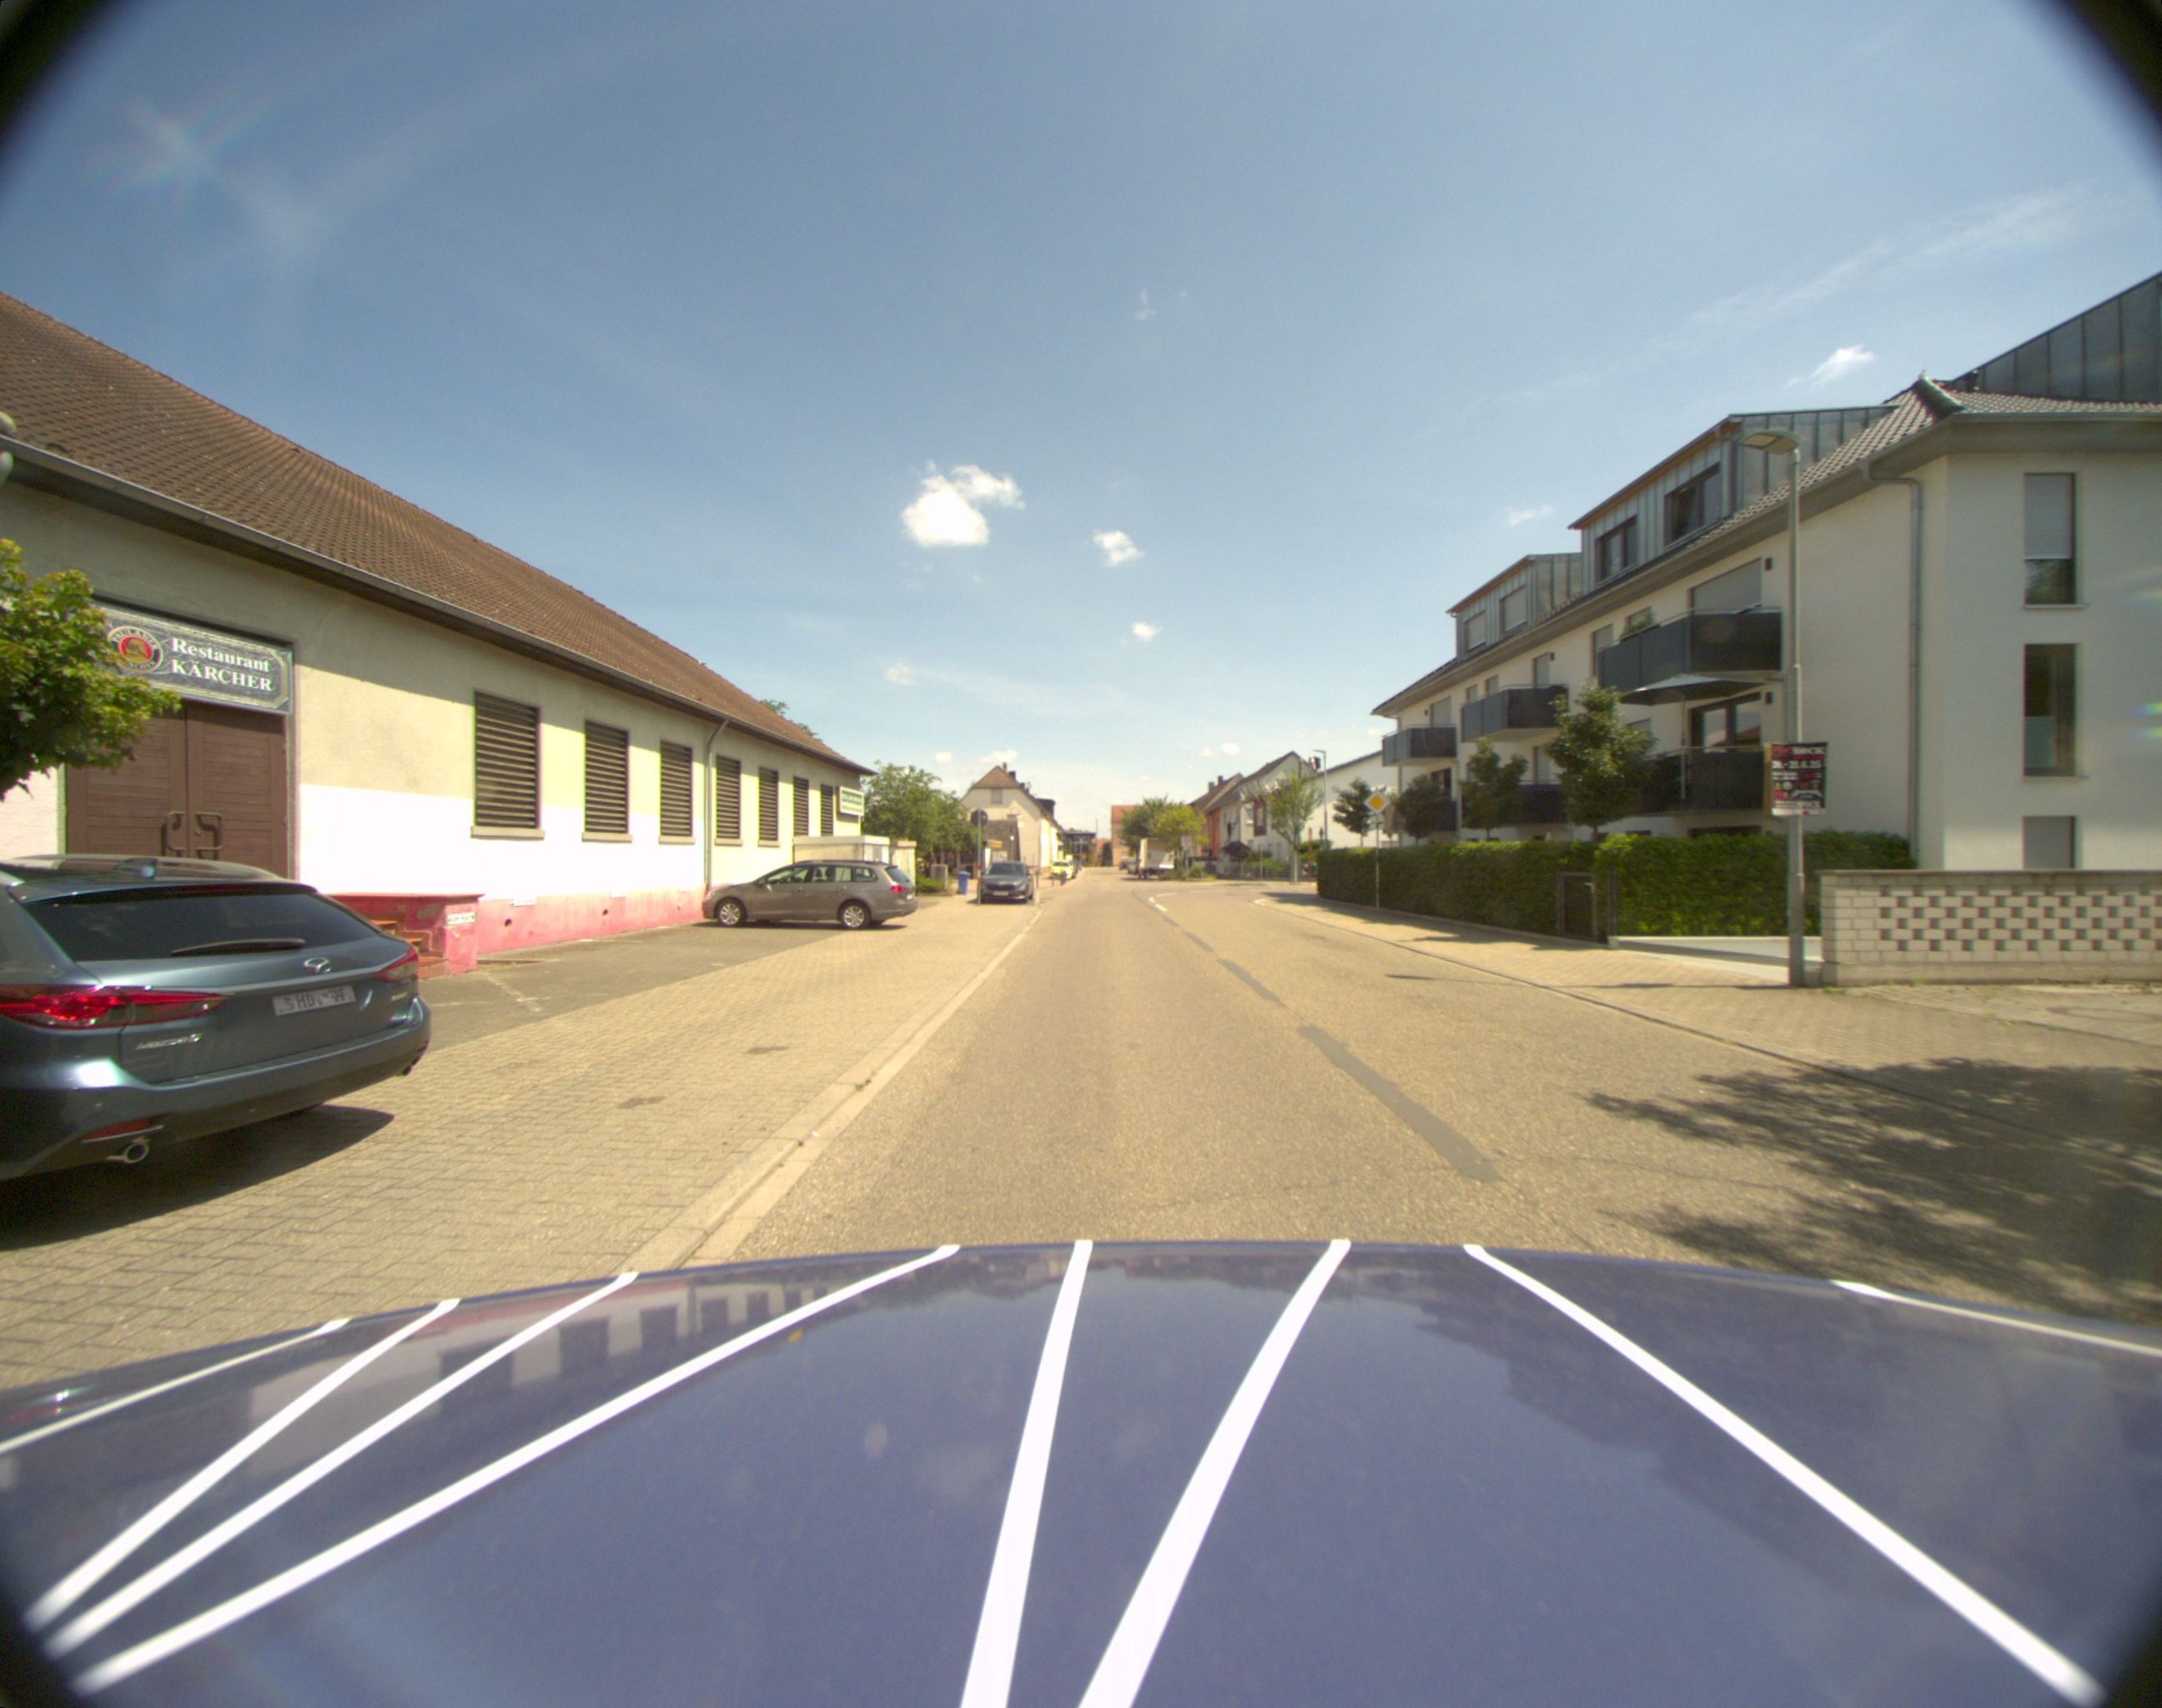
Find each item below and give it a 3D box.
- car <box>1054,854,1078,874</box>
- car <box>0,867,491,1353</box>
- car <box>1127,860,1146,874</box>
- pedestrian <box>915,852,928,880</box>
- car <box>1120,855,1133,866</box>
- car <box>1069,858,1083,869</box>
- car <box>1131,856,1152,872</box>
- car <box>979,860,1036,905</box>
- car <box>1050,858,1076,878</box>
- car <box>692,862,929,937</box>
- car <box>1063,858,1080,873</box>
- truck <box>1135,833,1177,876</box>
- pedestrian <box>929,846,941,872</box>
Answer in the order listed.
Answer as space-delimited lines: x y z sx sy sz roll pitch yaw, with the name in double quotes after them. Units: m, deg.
-1.165 0.778 61.389 1.720 1.491 4.215 4 0 1 "car"
-5.779 0.846 3.520 4.511 1.511 2.000 1 0 0 "car"
5.990 1.395 82.370 1.720 1.491 4.215 2 0 0 "car"
-10.358 0.764 49.357 0.547 1.778 0.682 1 0 42 "pedestrian"
6.753 0.922 112.860 1.720 1.491 4.215 2 0 0 "car"
-0.649 1.299 107.080 1.720 1.491 4.215 4 0 1 "car"
6.037 1.021 76.202 1.720 1.491 4.215 2 0 0 "car"
-2.586 0.976 27.609 1.631 1.480 4.140 0 0 1 "car"
-1.301 1.024 57.412 1.720 1.390 4.215 4 0 1 "car"
-5.849 0.958 16.828 4.537 1.445 1.918 1 0 1 "car"
-1.033 1.279 84.683 1.720 1.491 4.215 4 0 1 "car"
6.028 0.047 62.220 2.444 3.227 7.035 3 0 -1 "truck"
-9.616 0.310 50.012 0.463 1.710 0.599 1 1 42 "pedestrian"
